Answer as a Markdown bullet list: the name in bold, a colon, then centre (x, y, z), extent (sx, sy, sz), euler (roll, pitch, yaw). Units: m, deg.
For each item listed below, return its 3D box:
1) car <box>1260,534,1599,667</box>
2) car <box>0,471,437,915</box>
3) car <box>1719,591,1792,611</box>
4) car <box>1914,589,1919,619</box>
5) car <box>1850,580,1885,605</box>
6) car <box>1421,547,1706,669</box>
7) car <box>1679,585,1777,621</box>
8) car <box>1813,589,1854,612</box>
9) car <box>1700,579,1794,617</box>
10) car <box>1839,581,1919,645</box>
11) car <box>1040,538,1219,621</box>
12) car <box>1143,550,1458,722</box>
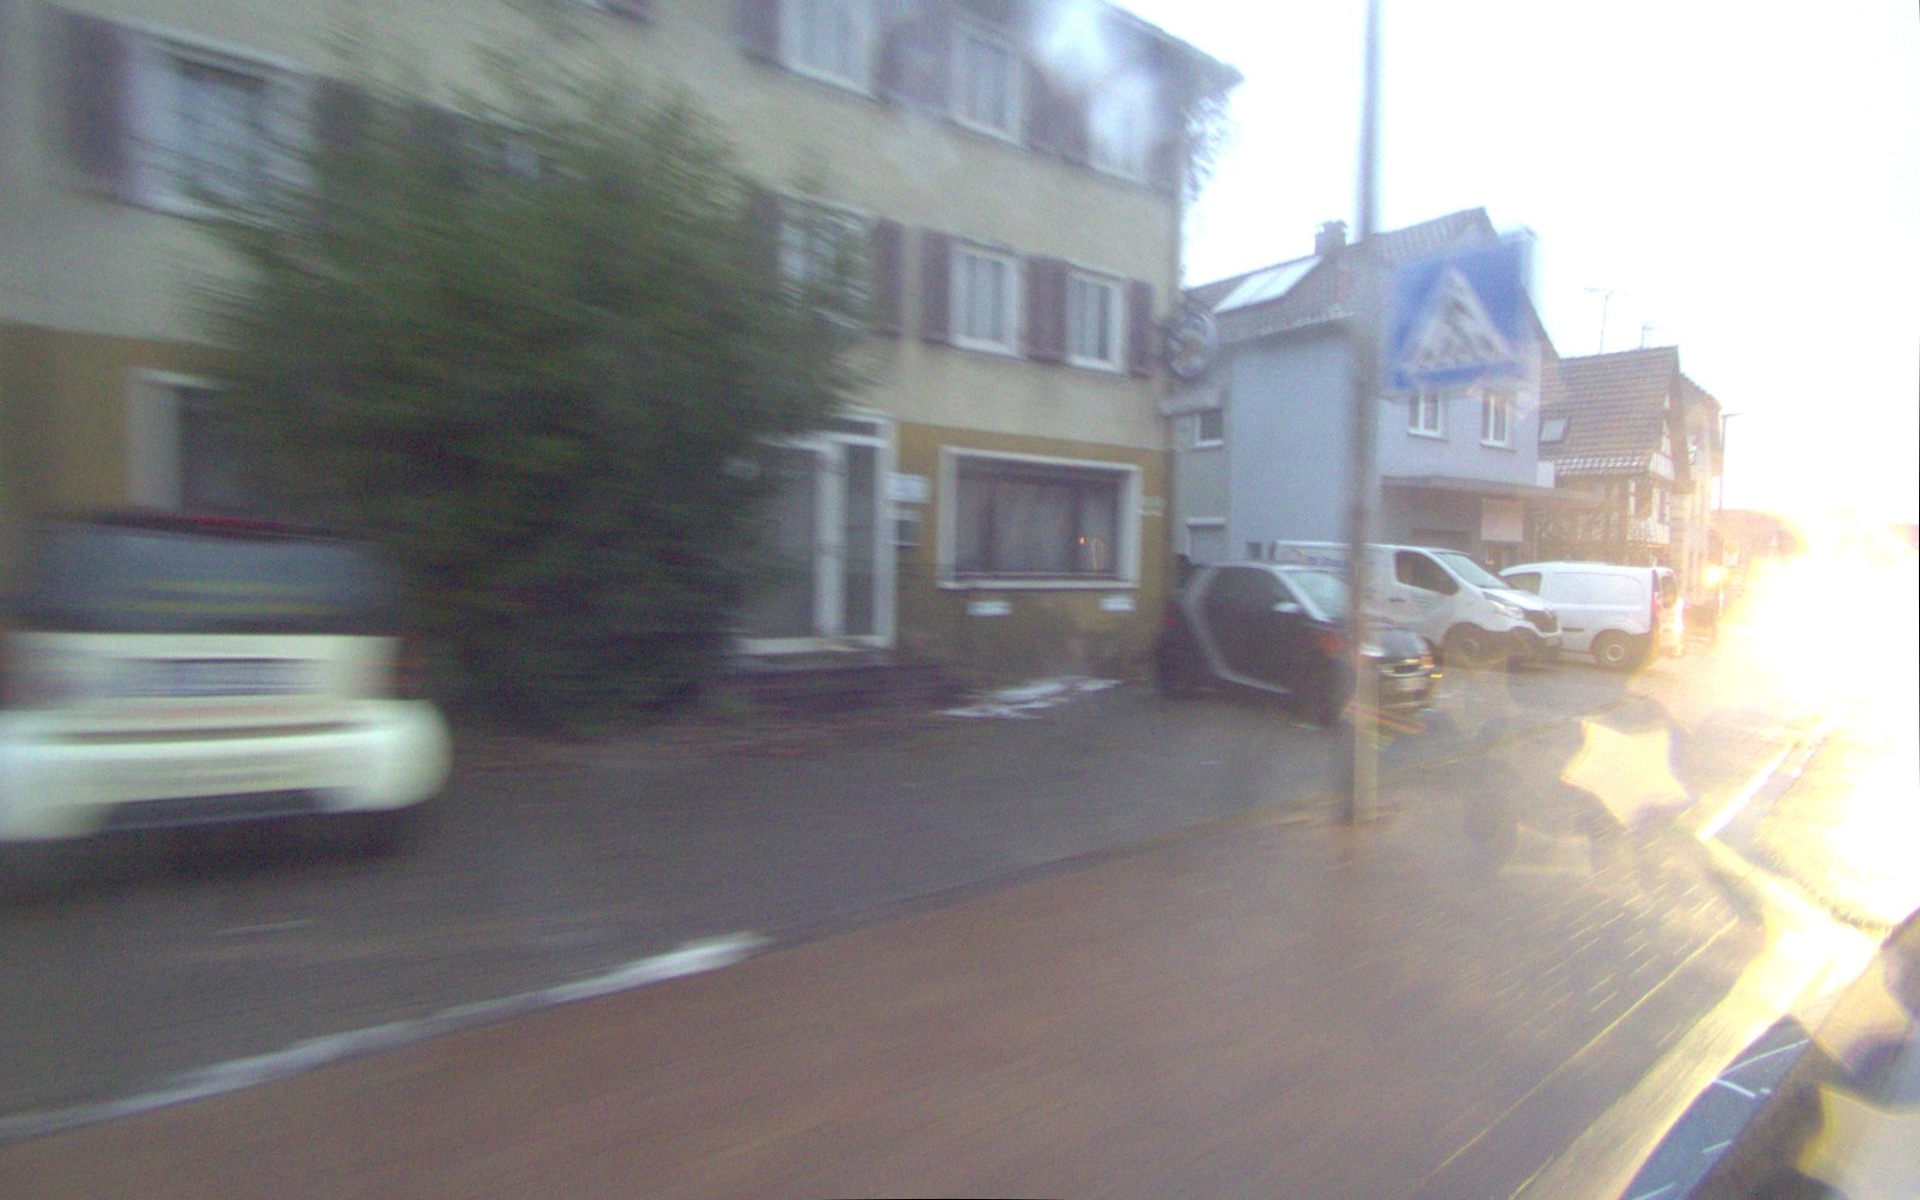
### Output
- **car**: centre (7.976, -0.107, 17.698), extent (1.901, 1.912, 4.996), euler (1, 3, -38)
- **car**: centre (-3.694, 0.263, 4.964), extent (1.523, 1.566, 2.590), euler (1, 3, -38)
- **car**: centre (54.454, 0.054, 69.321), extent (3.873, 1.141, 1.529), euler (3, 2, 39)
- **car**: centre (52.751, 0.218, 54.375), extent (1.892, 1.637, 3.772), euler (1, 1, 39)
- **car**: centre (75.182, -0.652, 83.881), extent (1.828, 2.039, 3.650), euler (1, 0, 37)
- **car**: centre (10.881, 0.044, 18.456), extent (1.832, 1.865, 4.049), euler (-1, 4, -43)
- **car**: centre (39.153, 0.129, 51.721), extent (3.830, 1.648, 1.591), euler (4, 2, 35)
- **car**: centre (59.488, 0.026, 68.976), extent (1.892, 1.484, 3.946), euler (1, 1, 37)
- **car**: centre (43.053, -0.157, 55.483), extent (3.865, 1.900, 1.846), euler (3, 1, 34)
- **car**: centre (25.543, 0.330, 27.742), extent (1.914, 1.638, 3.817), euler (1, 1, 37)
- **car**: centre (3.892, -0.537, 23.853), extent (1.845, 1.641, 4.004), euler (0, 5, -34)
- **car**: centre (3.456, 0.267, 10.597), extent (1.401, 1.492, 2.772), euler (0, 3, -38)
